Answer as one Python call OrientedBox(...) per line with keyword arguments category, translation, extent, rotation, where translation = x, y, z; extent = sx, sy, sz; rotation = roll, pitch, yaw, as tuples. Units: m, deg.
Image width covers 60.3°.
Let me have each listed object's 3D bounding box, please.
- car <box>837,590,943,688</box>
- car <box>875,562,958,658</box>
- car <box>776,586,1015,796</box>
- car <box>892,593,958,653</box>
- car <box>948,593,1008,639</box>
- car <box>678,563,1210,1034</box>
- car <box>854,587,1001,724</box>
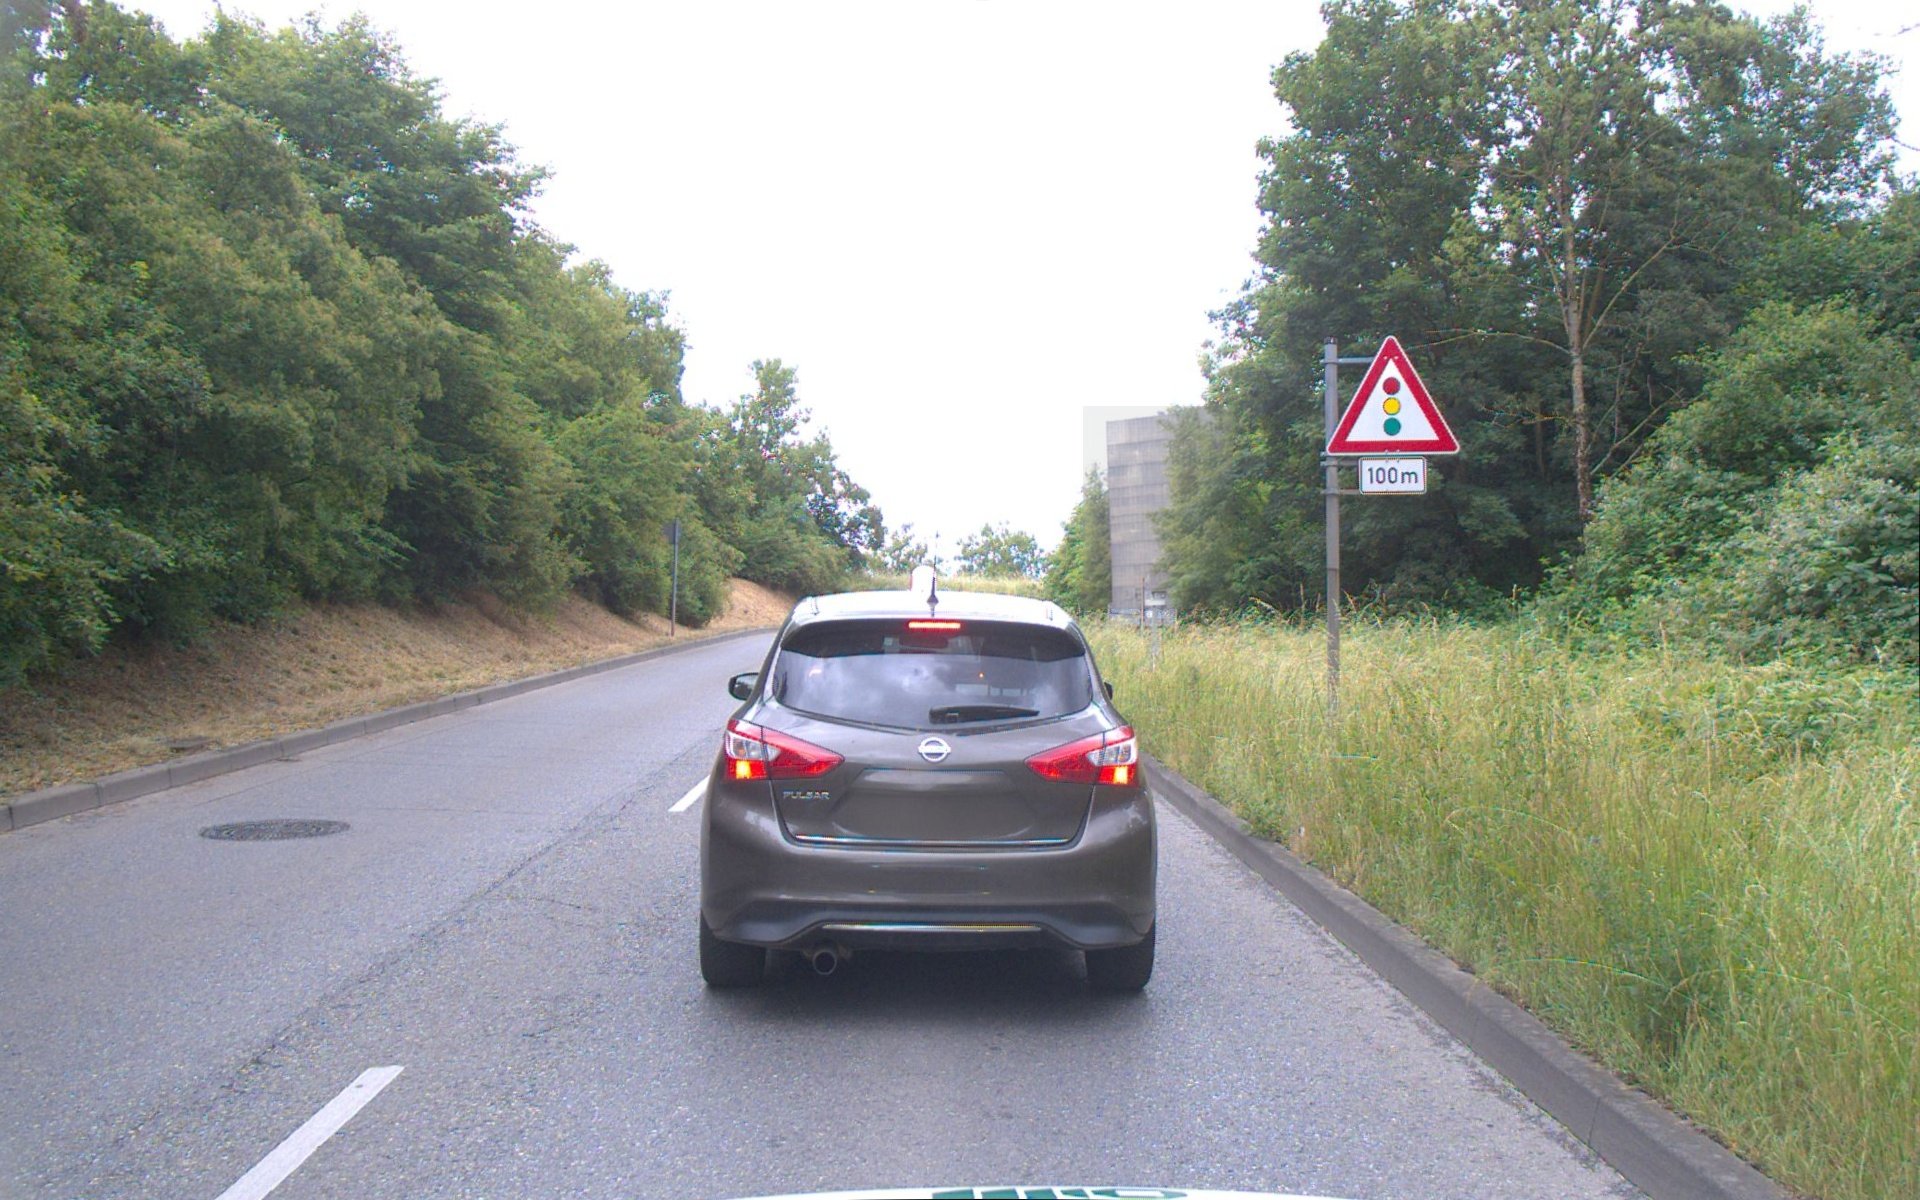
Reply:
OrientedBox(category="car", translation=(-1.154, 0.622, 28.556), extent=(1.700, 1.583, 3.543), rotation=(0, 0, -1))
OrientedBox(category="car", translation=(-0.961, 0.205, 35.734), extent=(1.701, 1.968, 3.542), rotation=(0, 0, -2))
OrientedBox(category="car", translation=(-0.500, 0.677, 14.284), extent=(1.793, 1.583, 3.624), rotation=(0, 0, -1))
OrientedBox(category="car", translation=(-0.957, 0.585, 44.522), extent=(1.701, 1.553, 3.542), rotation=(0, 0, -2))
OrientedBox(category="car", translation=(0.657, 0.544, 58.535), extent=(1.699, 1.553, 3.644), rotation=(0, 0, 8))
OrientedBox(category="car", translation=(-0.117, 0.670, 7.361), extent=(1.793, 1.583, 3.497), rotation=(1, 0, -2))
OrientedBox(category="car", translation=(-0.385, 0.635, 20.870), extent=(1.700, 1.583, 3.543), rotation=(0, 0, -1))
